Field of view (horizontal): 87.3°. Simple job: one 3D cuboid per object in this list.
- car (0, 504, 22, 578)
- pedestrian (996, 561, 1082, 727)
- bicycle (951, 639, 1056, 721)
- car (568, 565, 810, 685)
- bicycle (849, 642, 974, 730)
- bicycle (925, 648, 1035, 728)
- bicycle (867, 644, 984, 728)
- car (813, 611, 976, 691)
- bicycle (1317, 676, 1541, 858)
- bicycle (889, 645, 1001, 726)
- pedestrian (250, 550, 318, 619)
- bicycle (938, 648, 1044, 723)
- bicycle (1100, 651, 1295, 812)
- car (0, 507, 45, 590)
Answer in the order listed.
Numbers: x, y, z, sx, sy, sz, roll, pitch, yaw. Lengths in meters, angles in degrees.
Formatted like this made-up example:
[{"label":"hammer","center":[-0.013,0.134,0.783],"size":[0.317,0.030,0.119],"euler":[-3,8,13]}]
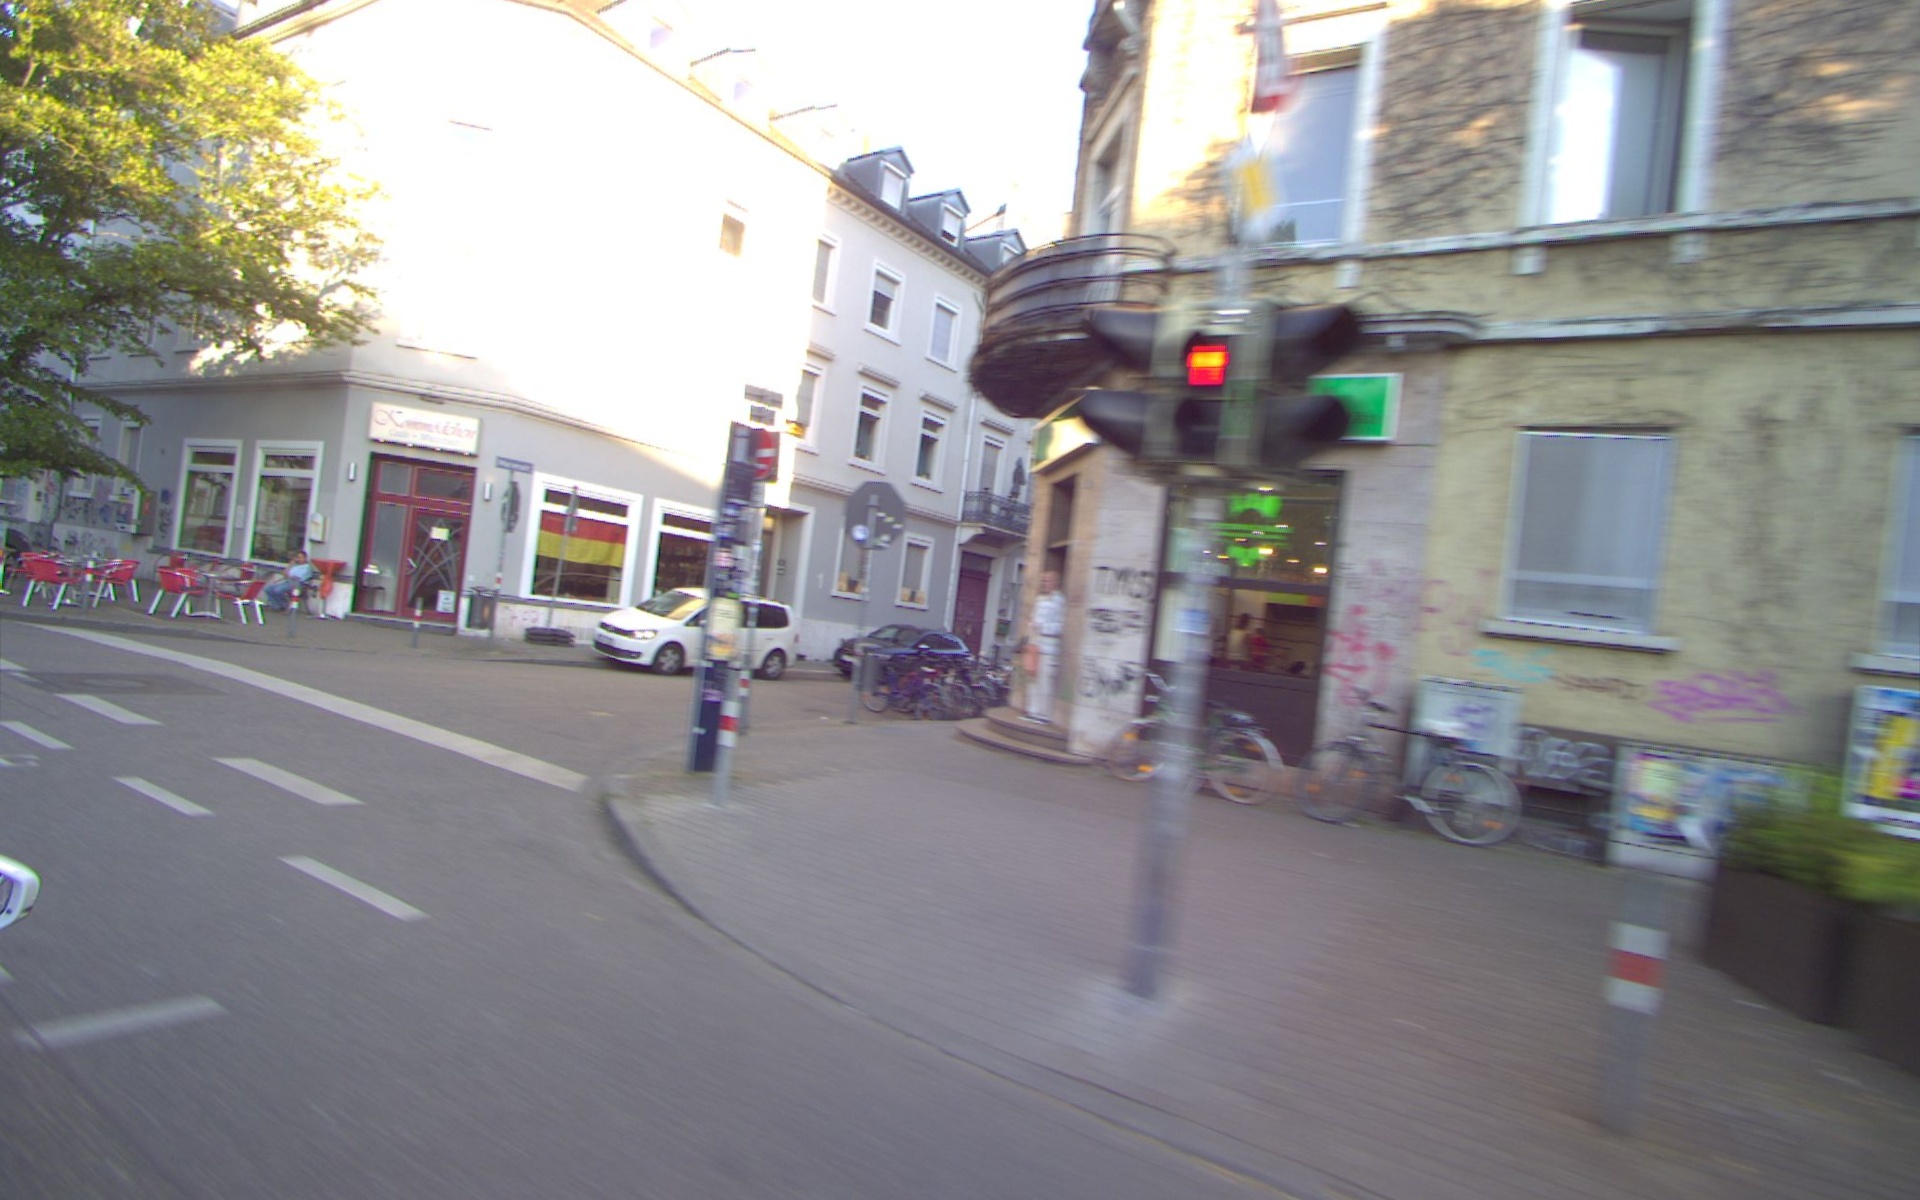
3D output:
[{"label":"car","center":[-21.834,-1.469,20.240],"size":[1.687,1.584,4.005],"euler":[7,-2,10]},{"label":"pedestrian","center":[0.927,0.511,11.875],"size":[0.553,1.855,0.609],"euler":[7,2,-22]},{"label":"bicycle","center":[0.848,1.566,19.809],"size":[1.854,1.296,0.510],"euler":[9,0,25]},{"label":"car","center":[-5.332,0.577,20.307],"size":[1.878,1.861,4.325],"euler":[6,-3,37]},{"label":"bicycle","center":[-0.811,1.397,16.526],"size":[1.856,1.113,0.659],"euler":[9,0,31]},{"label":"bicycle","center":[0.352,1.575,18.202],"size":[1.856,1.113,0.509],"euler":[9,0,32]},{"label":"bicycle","center":[-0.606,1.471,17.315],"size":[1.856,1.113,0.609],"euler":[9,0,32]},{"label":"car","center":[-1.529,1.310,25.033],"size":[1.878,1.593,4.055],"euler":[2,-5,34]},{"label":"bicycle","center":[3.935,1.360,8.491],"size":[1.559,1.224,0.470],"euler":[6,-1,32]},{"label":"bicycle","center":[-0.278,1.502,17.809],"size":[1.856,1.113,0.509],"euler":[9,0,32]},{"label":"pedestrian","center":[-12.702,-0.285,18.920],"size":[0.678,1.168,0.652],"euler":[7,-1,8]},{"label":"bicycle","center":[0.580,1.609,19.071],"size":[1.856,1.113,0.538],"euler":[9,0,32]},{"label":"bicycle","center":[2.196,1.188,9.374],"size":[1.559,1.224,0.524],"euler":[6,-1,32]},{"label":"car","center":[-19.523,-1.183,18.206],"size":[1.745,1.558,4.005],"euler":[7,-2,12]}]
